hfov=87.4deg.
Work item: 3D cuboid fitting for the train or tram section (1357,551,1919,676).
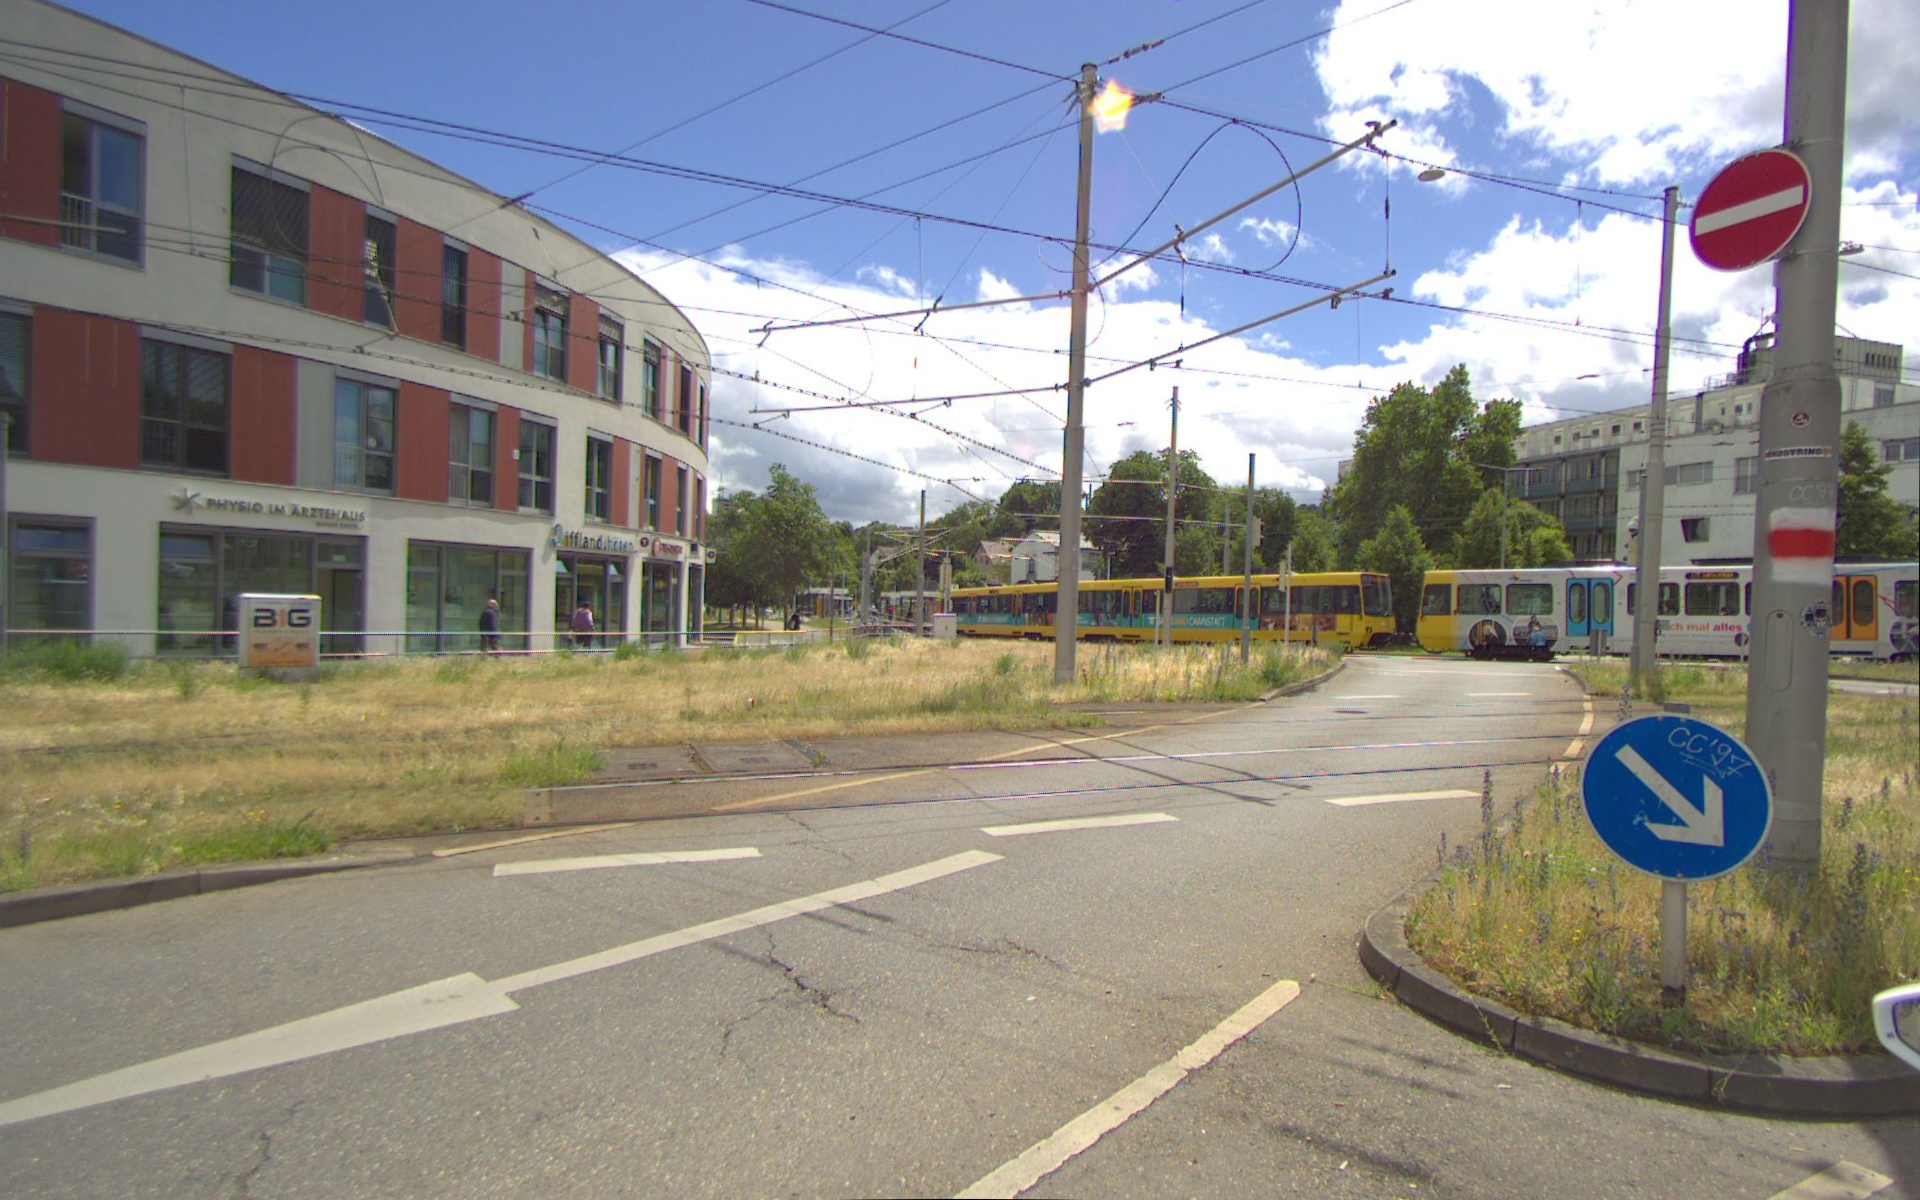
[{"bbox_3d":[25.601,0.437,36.693,20.267,3.930,3.755,1,-2,30],"label":"train or tram section"}]

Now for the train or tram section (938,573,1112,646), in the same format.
[{"bbox_3d":[3.545,0.704,65.364,3.706,3.970,18.804,2,-2,-21],"label":"train or tram section"}]

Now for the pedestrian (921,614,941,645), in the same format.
[{"bbox_3d":[-1.552,1.579,54.609,0.965,1.646,1.036,1,-1,4],"label":"pedestrian"}]

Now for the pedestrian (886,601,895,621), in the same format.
[{"bbox_3d":[-7.260,1.157,105.257,0.807,2.040,0.771,2,-1,-15],"label":"pedestrian"}]

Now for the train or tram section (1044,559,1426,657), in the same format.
[{"bbox_3d":[12.182,0.454,49.168,3.727,3.880,19.935,2,-2,-37],"label":"train or tram section"}]

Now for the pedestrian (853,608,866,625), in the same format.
[{"bbox_3d":[-11.742,1.919,117.088,1.241,2.040,1.121,2,-1,-19],"label":"pedestrian"}]

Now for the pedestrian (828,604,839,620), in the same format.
[{"bbox_3d":[-16.859,1.599,133.547,1.241,2.040,1.121,2,-1,-19],"label":"pedestrian"}]

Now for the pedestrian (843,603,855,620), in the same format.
[{"bbox_3d":[-13.518,1.380,122.606,1.241,2.040,1.121,2,-1,-19],"label":"pedestrian"}]

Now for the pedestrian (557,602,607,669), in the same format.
[{"bbox_3d":[-11.539,1.066,30.675,0.849,1.994,1.104,1,-1,30],"label":"pedestrian"}]

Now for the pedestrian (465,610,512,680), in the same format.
[{"bbox_3d":[-11.185,1.053,23.835,0.721,1.601,0.690,0,-1,26],"label":"pedestrian"}]

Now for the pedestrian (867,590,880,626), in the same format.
[{"bbox_3d":[-14.936,1.386,173.214,1.964,5.998,2.368,2,-1,-9],"label":"pedestrian"}]

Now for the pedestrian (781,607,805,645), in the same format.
[{"bbox_3d":[-7.471,1.165,44.960,0.847,1.646,0.733,1,-1,7],"label":"pedestrian"}]
